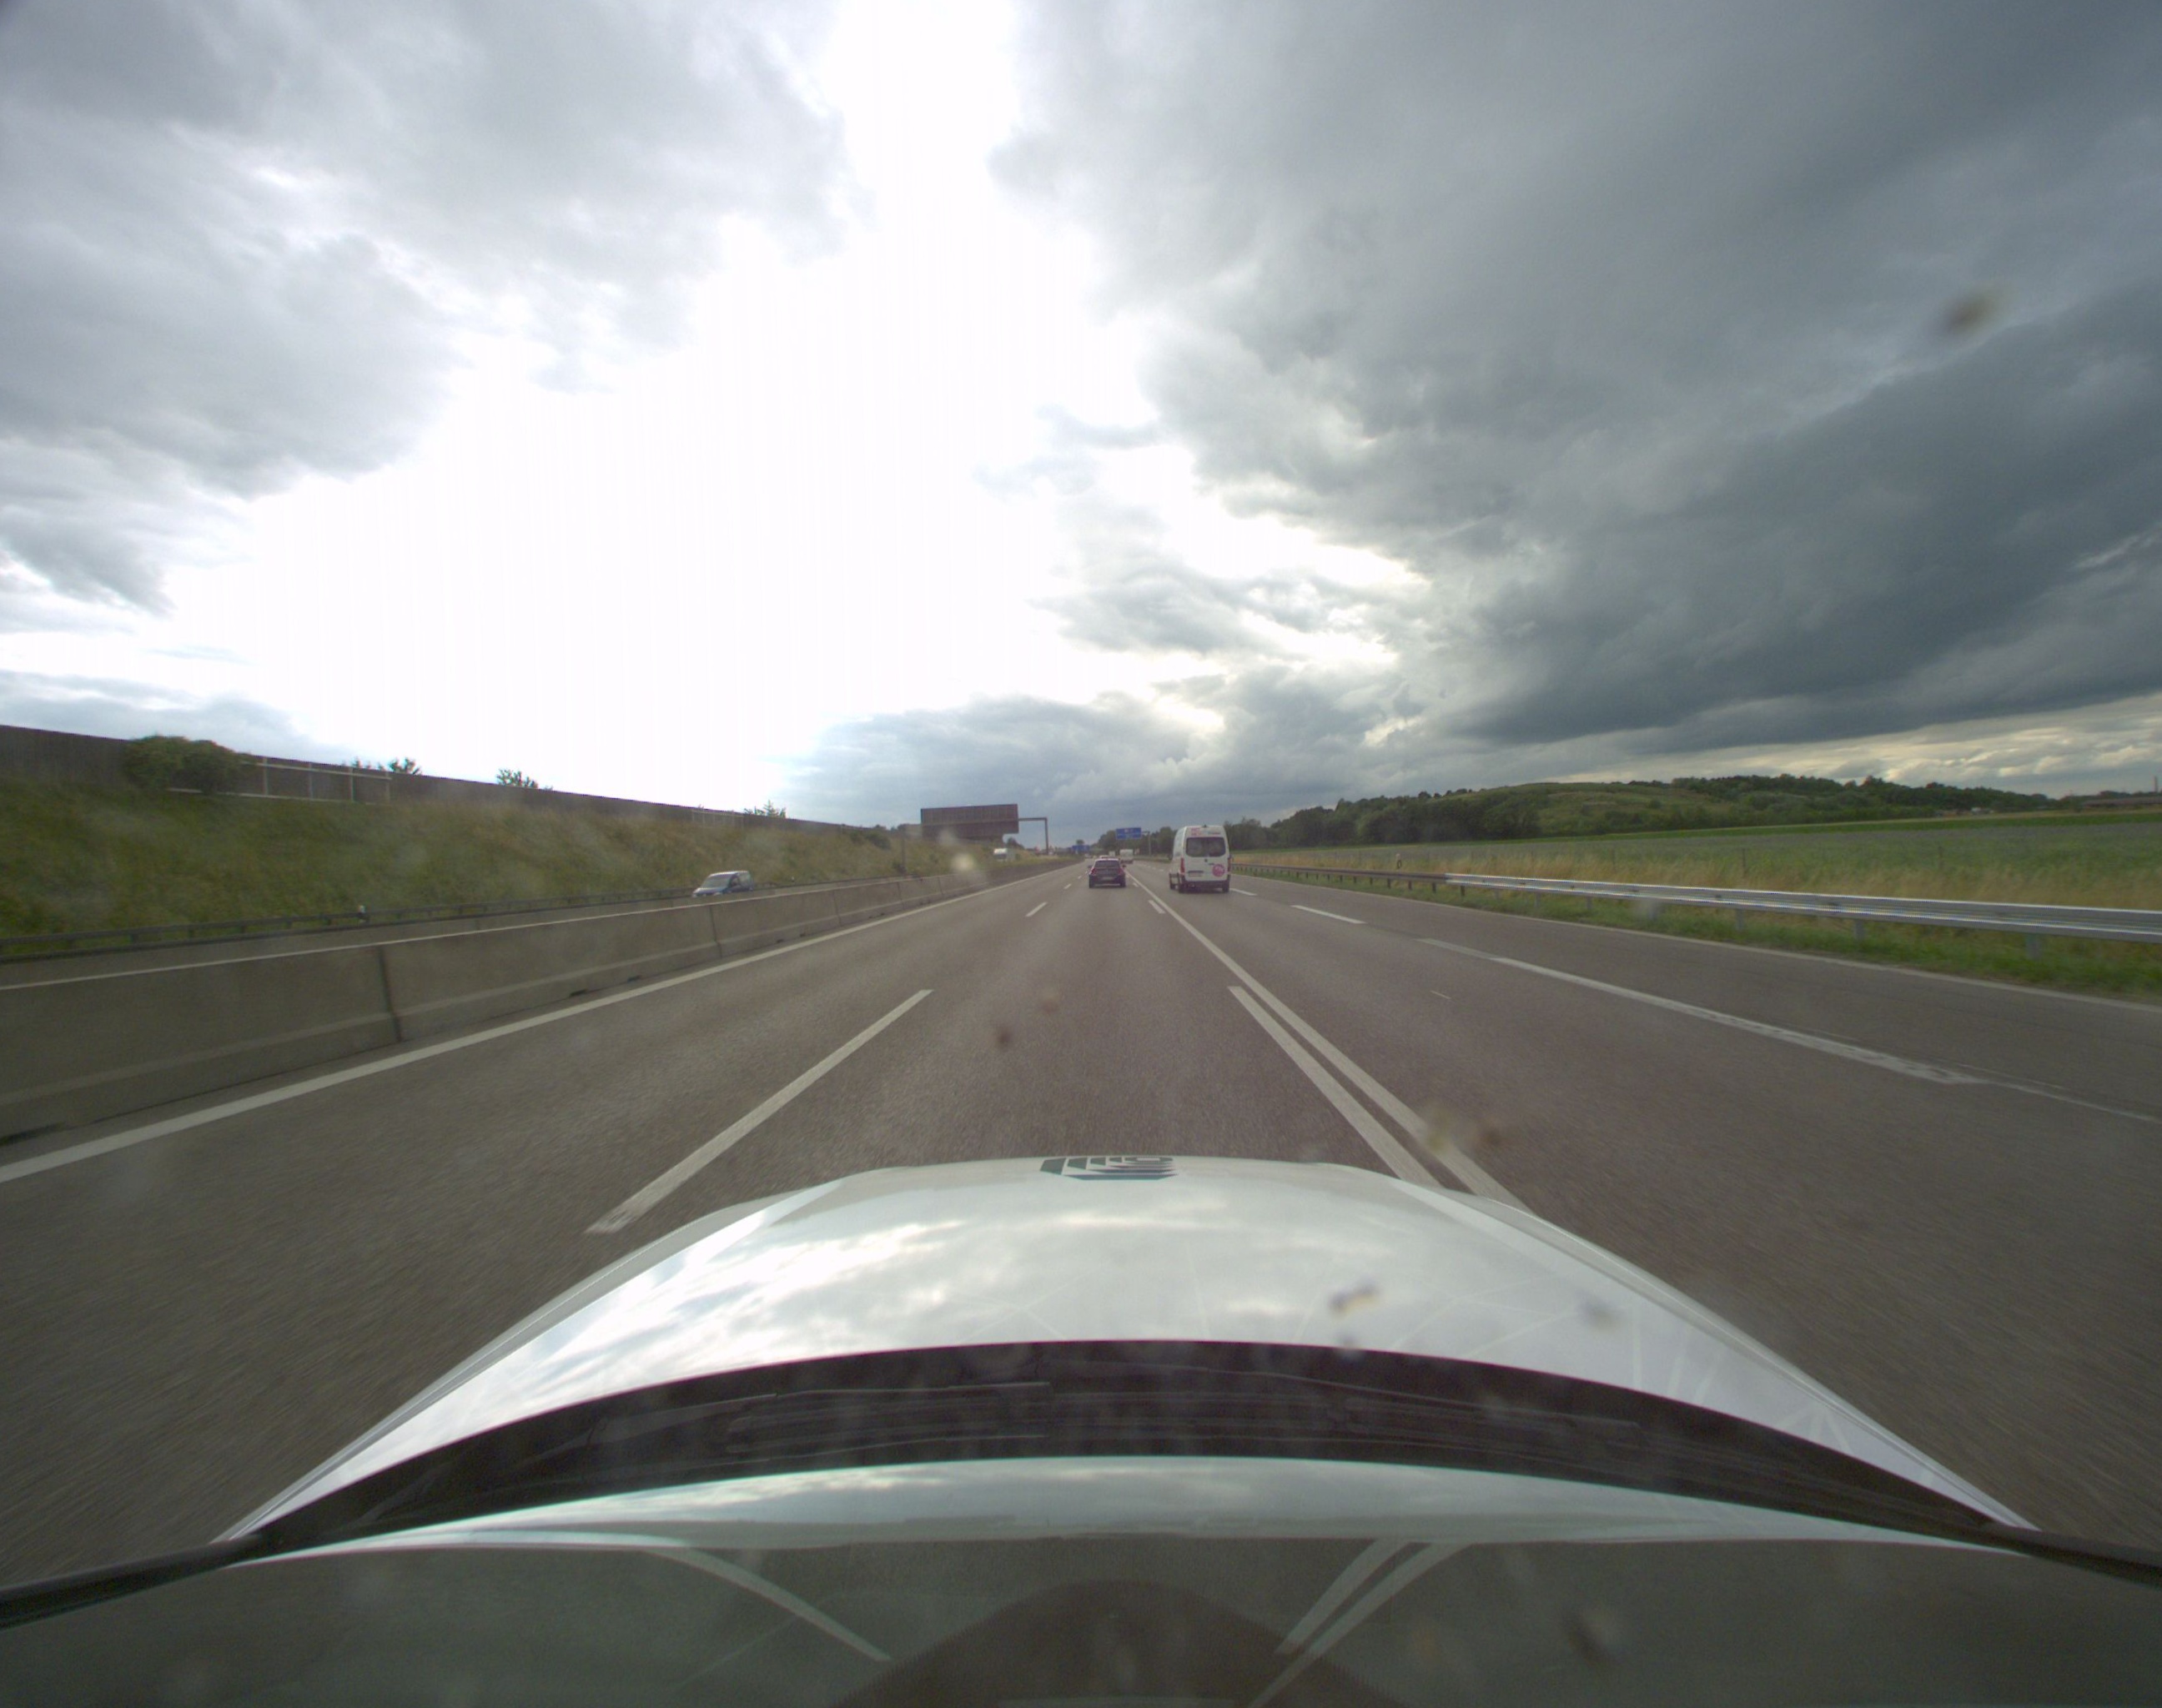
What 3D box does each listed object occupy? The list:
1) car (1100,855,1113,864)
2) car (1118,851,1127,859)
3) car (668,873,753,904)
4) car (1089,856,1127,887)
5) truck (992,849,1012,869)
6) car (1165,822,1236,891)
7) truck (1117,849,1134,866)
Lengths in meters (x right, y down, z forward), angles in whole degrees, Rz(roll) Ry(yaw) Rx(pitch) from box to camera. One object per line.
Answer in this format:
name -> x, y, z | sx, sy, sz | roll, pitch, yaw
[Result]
car -> 4.129, 0.919, 131.506 | 1.986, 1.298, 4.001 | -3, 0, 1
car -> 10.374, 0.210, 203.021 | 1.986, 2.013, 4.001 | -2, 0, 1
car -> -18.778, 1.716, 41.586 | 1.986, 1.364, 4.942 | 0, 0, 1
car -> 1.325, 0.833, 40.262 | 1.737, 1.389, 4.002 | -1, 0, 2
truck -> -15.664, 1.001, 161.466 | 2.716, 3.677, 7.492 | -3, 0, 2
car -> 4.872, 0.087, 34.267 | 2.213, 2.568, 6.259 | -2, 0, 2
truck -> 8.211, 0.604, 151.143 | 2.700, 2.964, 12.451 | 0, 0, 2
